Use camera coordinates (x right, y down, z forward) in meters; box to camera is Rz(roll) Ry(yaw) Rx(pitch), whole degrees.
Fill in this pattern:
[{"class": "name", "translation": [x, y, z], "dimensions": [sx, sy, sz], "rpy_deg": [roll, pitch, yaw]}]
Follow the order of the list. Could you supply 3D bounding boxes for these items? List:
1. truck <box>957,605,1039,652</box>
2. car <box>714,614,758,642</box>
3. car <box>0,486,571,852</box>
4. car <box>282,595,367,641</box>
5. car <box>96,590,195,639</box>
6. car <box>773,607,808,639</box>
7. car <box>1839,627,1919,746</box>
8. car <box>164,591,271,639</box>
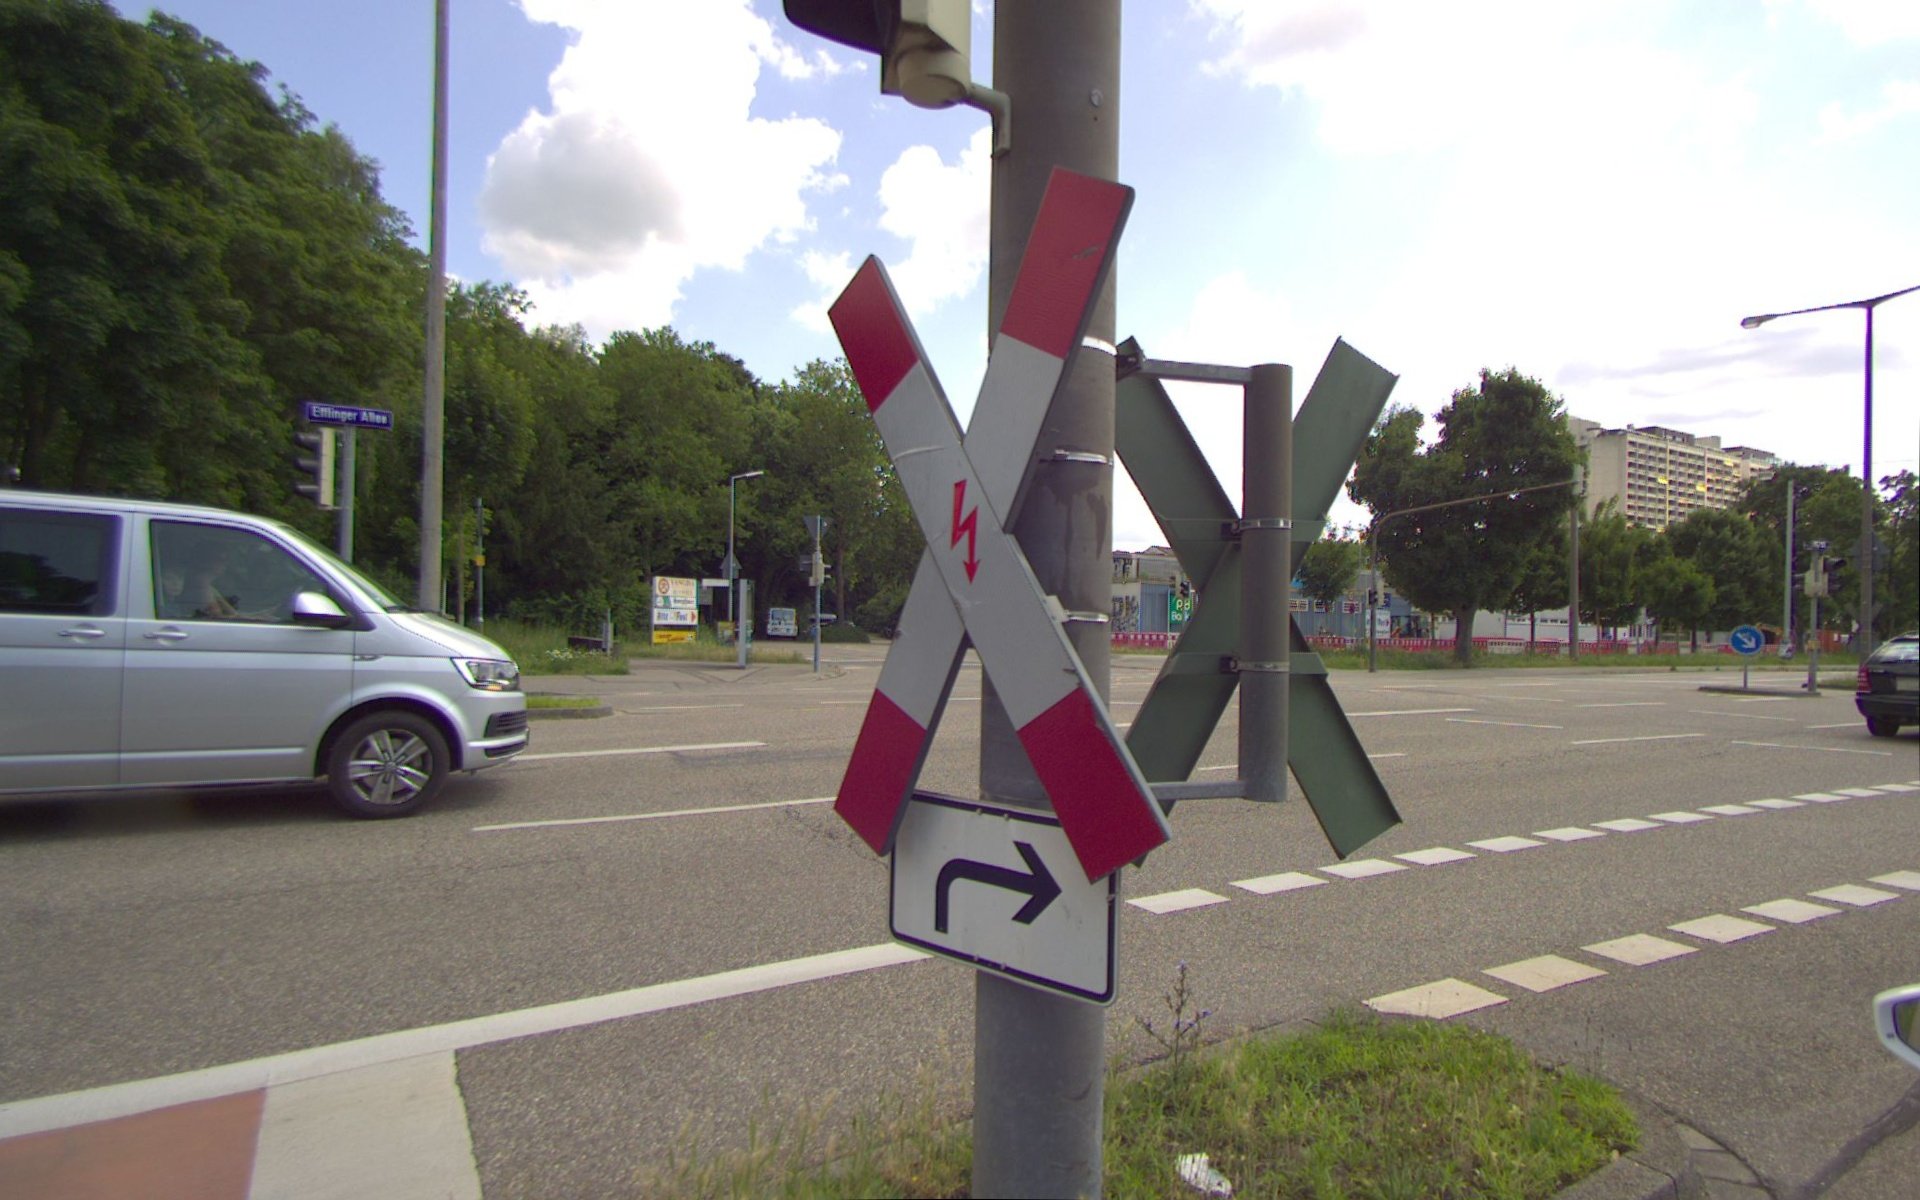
[{"class": "truck", "translation": [2.065, 1.603, 57.431], "dimensions": [2.987, 2.471, 6.969], "rpy_deg": [1, -1, -13]}, {"class": "car", "translation": [-13.682, 1.679, 61.298], "dimensions": [1.601, 1.528, 3.590], "rpy_deg": [2, 0, -30]}, {"class": "car", "translation": [-5.328, 0.365, 6.240], "dimensions": [5.173, 1.944, 1.804], "rpy_deg": [2, 0, -32]}, {"class": "car", "translation": [-26.098, 0.750, 41.387], "dimensions": [2.044, 1.748, 4.110], "rpy_deg": [1, -1, -19]}, {"class": "car", "translation": [-30.853, 0.562, 38.187], "dimensions": [1.793, 1.732, 4.105], "rpy_deg": [1, -1, -23]}, {"class": "car", "translation": [-10.533, 1.409, 62.231], "dimensions": [1.904, 1.817, 3.610], "rpy_deg": [2, 0, -13]}, {"class": "car", "translation": [14.069, 1.159, 13.723], "dimensions": [4.380, 1.485, 1.747], "rpy_deg": [2, -1, -29]}, {"class": "car", "translation": [-28.737, 0.609, 39.062], "dimensions": [2.015, 1.748, 4.558], "rpy_deg": [1, -1, -19]}]
